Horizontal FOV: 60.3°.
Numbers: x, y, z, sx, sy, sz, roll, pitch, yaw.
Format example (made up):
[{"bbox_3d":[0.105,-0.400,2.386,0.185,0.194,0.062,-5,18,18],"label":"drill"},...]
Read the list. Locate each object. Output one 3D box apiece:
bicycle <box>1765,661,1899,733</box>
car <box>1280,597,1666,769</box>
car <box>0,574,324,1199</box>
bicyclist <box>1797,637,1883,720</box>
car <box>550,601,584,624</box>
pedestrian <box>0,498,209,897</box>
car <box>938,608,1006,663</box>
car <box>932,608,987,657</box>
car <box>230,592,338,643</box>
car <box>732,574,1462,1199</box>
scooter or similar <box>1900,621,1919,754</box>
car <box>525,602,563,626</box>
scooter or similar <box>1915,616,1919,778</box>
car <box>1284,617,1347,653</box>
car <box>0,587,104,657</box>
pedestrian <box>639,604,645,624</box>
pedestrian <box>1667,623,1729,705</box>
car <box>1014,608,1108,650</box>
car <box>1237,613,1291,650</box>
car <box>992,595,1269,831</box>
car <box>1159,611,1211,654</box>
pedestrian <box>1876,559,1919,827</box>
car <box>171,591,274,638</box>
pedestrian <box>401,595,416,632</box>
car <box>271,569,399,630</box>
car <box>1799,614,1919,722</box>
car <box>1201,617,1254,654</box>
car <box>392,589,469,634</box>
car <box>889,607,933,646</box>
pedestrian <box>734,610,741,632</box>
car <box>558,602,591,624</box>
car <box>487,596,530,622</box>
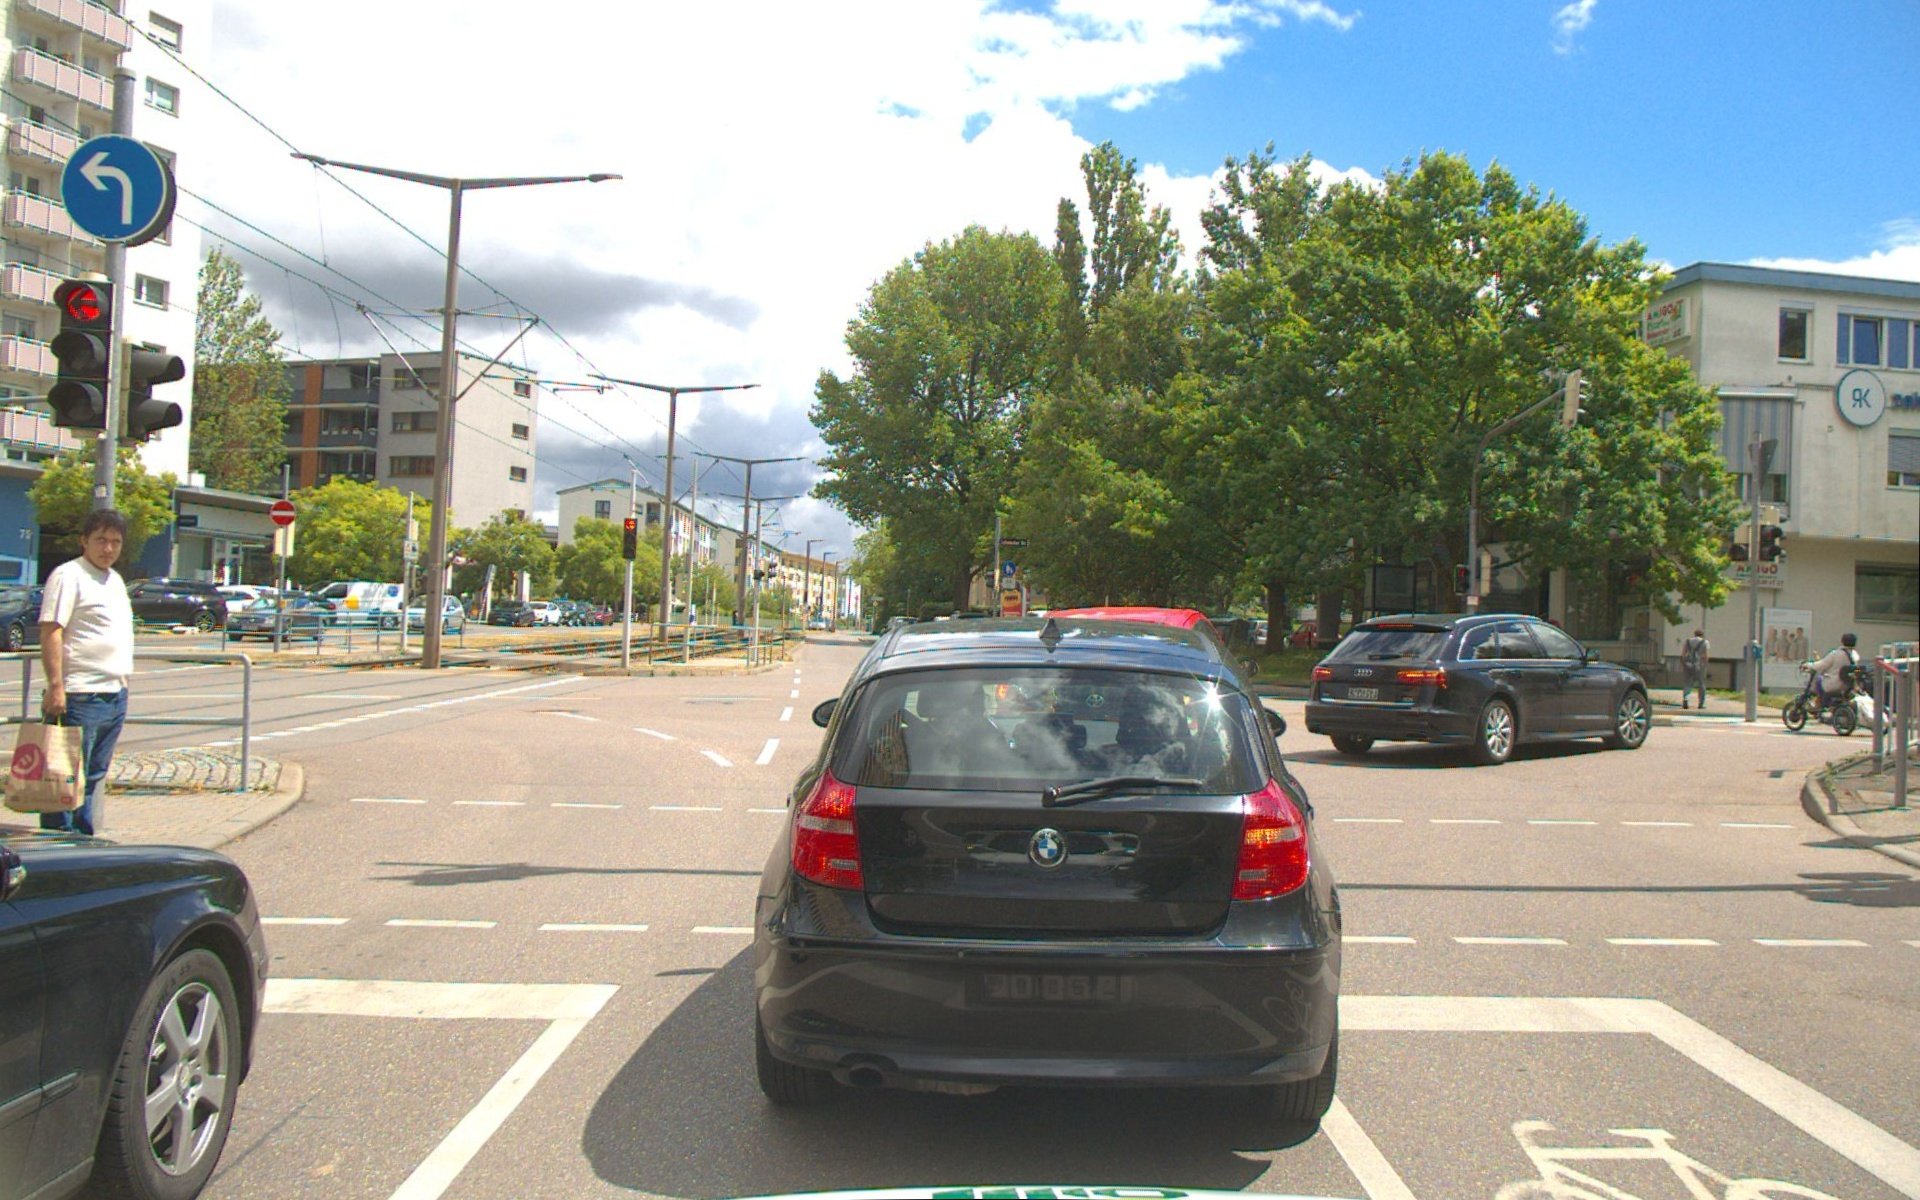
[{"bbox_3d":[11.633,1.280,22.129,0.775,0.833,1.807,2,0,-2],"label":"bicycle"},{"bbox_3d":[5.539,0.798,17.545,4.484,1.581,1.969,1,-1,-43],"label":"car"},{"bbox_3d":[-2.586,0.677,2.247,1.693,1.487,4.543,1,0,-1],"label":"car"},{"bbox_3d":[11.645,1.032,21.900,0.775,1.040,0.636,2,0,-2],"label":"bicyclist"},{"bbox_3d":[-25.453,0.778,107.194,1.728,1.419,3.994,1,0,-7],"label":"car"},{"bbox_3d":[-4.256,0.452,8.045,0.851,1.839,0.741,1,0,-5],"label":"pedestrian"},{"bbox_3d":[0.371,1.153,54.203,2.108,1.713,3.999,1,-1,-1],"label":"car"},{"bbox_3d":[-0.033,1.210,61.645,1.953,1.713,3.999,1,-1,-1],"label":"car"},{"bbox_3d":[-20.601,0.534,50.568,1.602,1.424,4.491,2,-1,-3],"label":"car"},{"bbox_3d":[0.309,0.708,5.954,1.717,1.513,3.999,1,0,-1],"label":"car"},{"bbox_3d":[9.204,0.818,14.938,1.338,1.176,0.539,3,0,-26],"label":"scooter or similar"},{"bbox_3d":[-25.257,0.841,100.619,1.728,1.419,3.994,1,0,-7],"label":"car"},{"bbox_3d":[8.395,0.801,13.120,1.315,1.299,0.462,1,1,6],"label":"scooter or similar"},{"bbox_3d":[17.071,1.648,79.602,1.698,1.623,3.993,1,0,-8],"label":"car"},{"bbox_3d":[-20.726,0.449,36.444,1.596,1.438,4.252,1,0,-2],"label":"car"},{"bbox_3d":[-26.848,1.216,139.588,0.444,1.665,0.480,1,0,-3],"label":"pedestrian"},{"bbox_3d":[15.386,1.336,34.496,0.892,1.672,0.765,2,0,-23],"label":"pedestrian"},{"bbox_3d":[4.641,1.336,75.771,3.933,1.855,1.766,1,0,-23],"label":"car"},{"bbox_3d":[14.525,1.485,79.163,1.598,1.623,3.997,1,0,-4],"label":"car"},{"bbox_3d":[1.375,0.721,12.256,1.509,1.466,3.198,1,0,15],"label":"car"},{"bbox_3d":[10.419,1.484,76.761,1.598,1.842,4.029,1,0,-4],"label":"car"},{"bbox_3d":[6.647,0.593,10.842,0.932,1.703,0.871,0,0,14],"label":"pedestrian"},{"bbox_3d":[-26.776,0.512,60.008,4.144,1.597,1.949,1,0,43],"label":"car"},{"bbox_3d":[-26.203,0.641,78.595,0.537,1.746,0.667,1,0,-10],"label":"pedestrian"},{"bbox_3d":[-27.090,-0.044,71.552,2.810,2.522,6.614,1,0,-44],"label":"car"},{"bbox_3d":[17.180,1.170,28.541,4.472,1.747,1.997,1,0,-8],"label":"car"},{"bbox_3d":[12.574,1.662,77.842,1.598,1.600,4.029,1,0,-4],"label":"car"},{"bbox_3d":[-21.571,0.462,67.545,1.897,1.722,3.872,1,0,-1],"label":"car"},{"bbox_3d":[-2.253,1.216,77.041,1.953,1.713,3.999,1,0,-1],"label":"car"},{"bbox_3d":[-17.451,1.655,129.548,0.469,1.665,0.454,1,0,-2],"label":"pedestrian"},{"bbox_3d":[-25.998,0.892,111.751,1.728,1.419,3.994,1,0,-7],"label":"car"},{"bbox_3d":[-25.375,0.501,93.077,1.728,1.419,3.994,1,0,-7],"label":"car"}]
